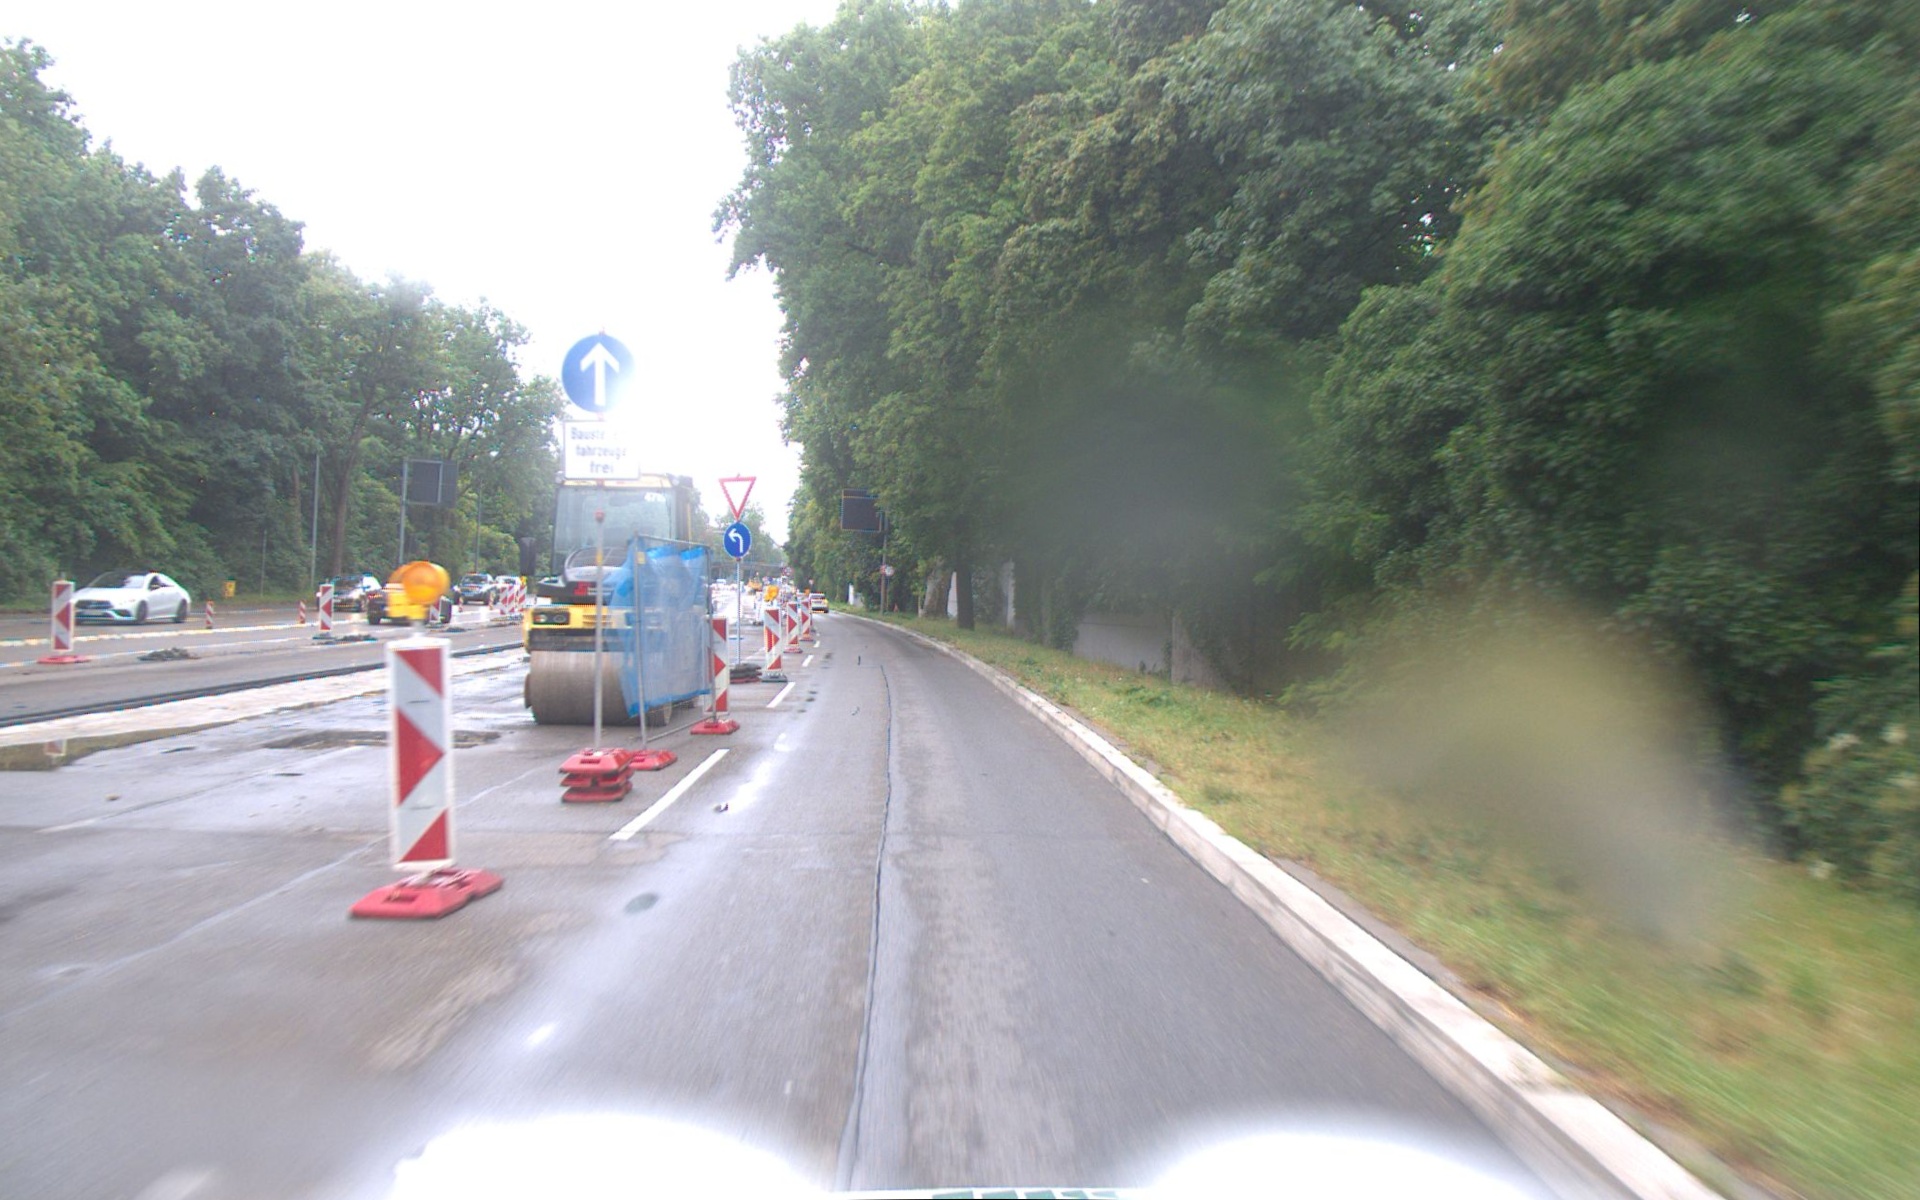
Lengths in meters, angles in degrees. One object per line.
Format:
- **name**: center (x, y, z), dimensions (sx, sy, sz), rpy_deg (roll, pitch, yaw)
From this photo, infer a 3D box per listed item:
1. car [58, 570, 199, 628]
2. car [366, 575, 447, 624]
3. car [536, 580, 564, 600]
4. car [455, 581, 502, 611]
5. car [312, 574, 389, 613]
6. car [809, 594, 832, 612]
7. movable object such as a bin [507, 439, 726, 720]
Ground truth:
- **car**: center (-22.532, -0.041, 45.020), dimensions (1.748, 1.451, 4.466), rpy_deg (2, 0, -3)
- **car**: center (-17.668, -0.021, 52.947), dimensions (1.577, 1.429, 4.035), rpy_deg (3, 0, -7)
- **car**: center (-33.180, -0.796, 133.853), dimensions (1.634, 1.568, 4.153), rpy_deg (0, 0, -6)
- **car**: center (-27.374, -0.236, 94.158), dimensions (1.743, 1.692, 4.908), rpy_deg (1, 0, -7)
- **car**: center (-24.976, -0.261, 67.893), dimensions (1.749, 1.478, 4.677), rpy_deg (2, 0, -5)
- **car**: center (-10.839, 0.199, 127.985), dimensions (1.665, 1.359, 3.486), rpy_deg (1, 0, -6)
- **movable object such as a bin**: center (-4.148, -0.223, 20.817), dimensions (1.767, 3.037, 5.243), rpy_deg (2, 0, -2)
